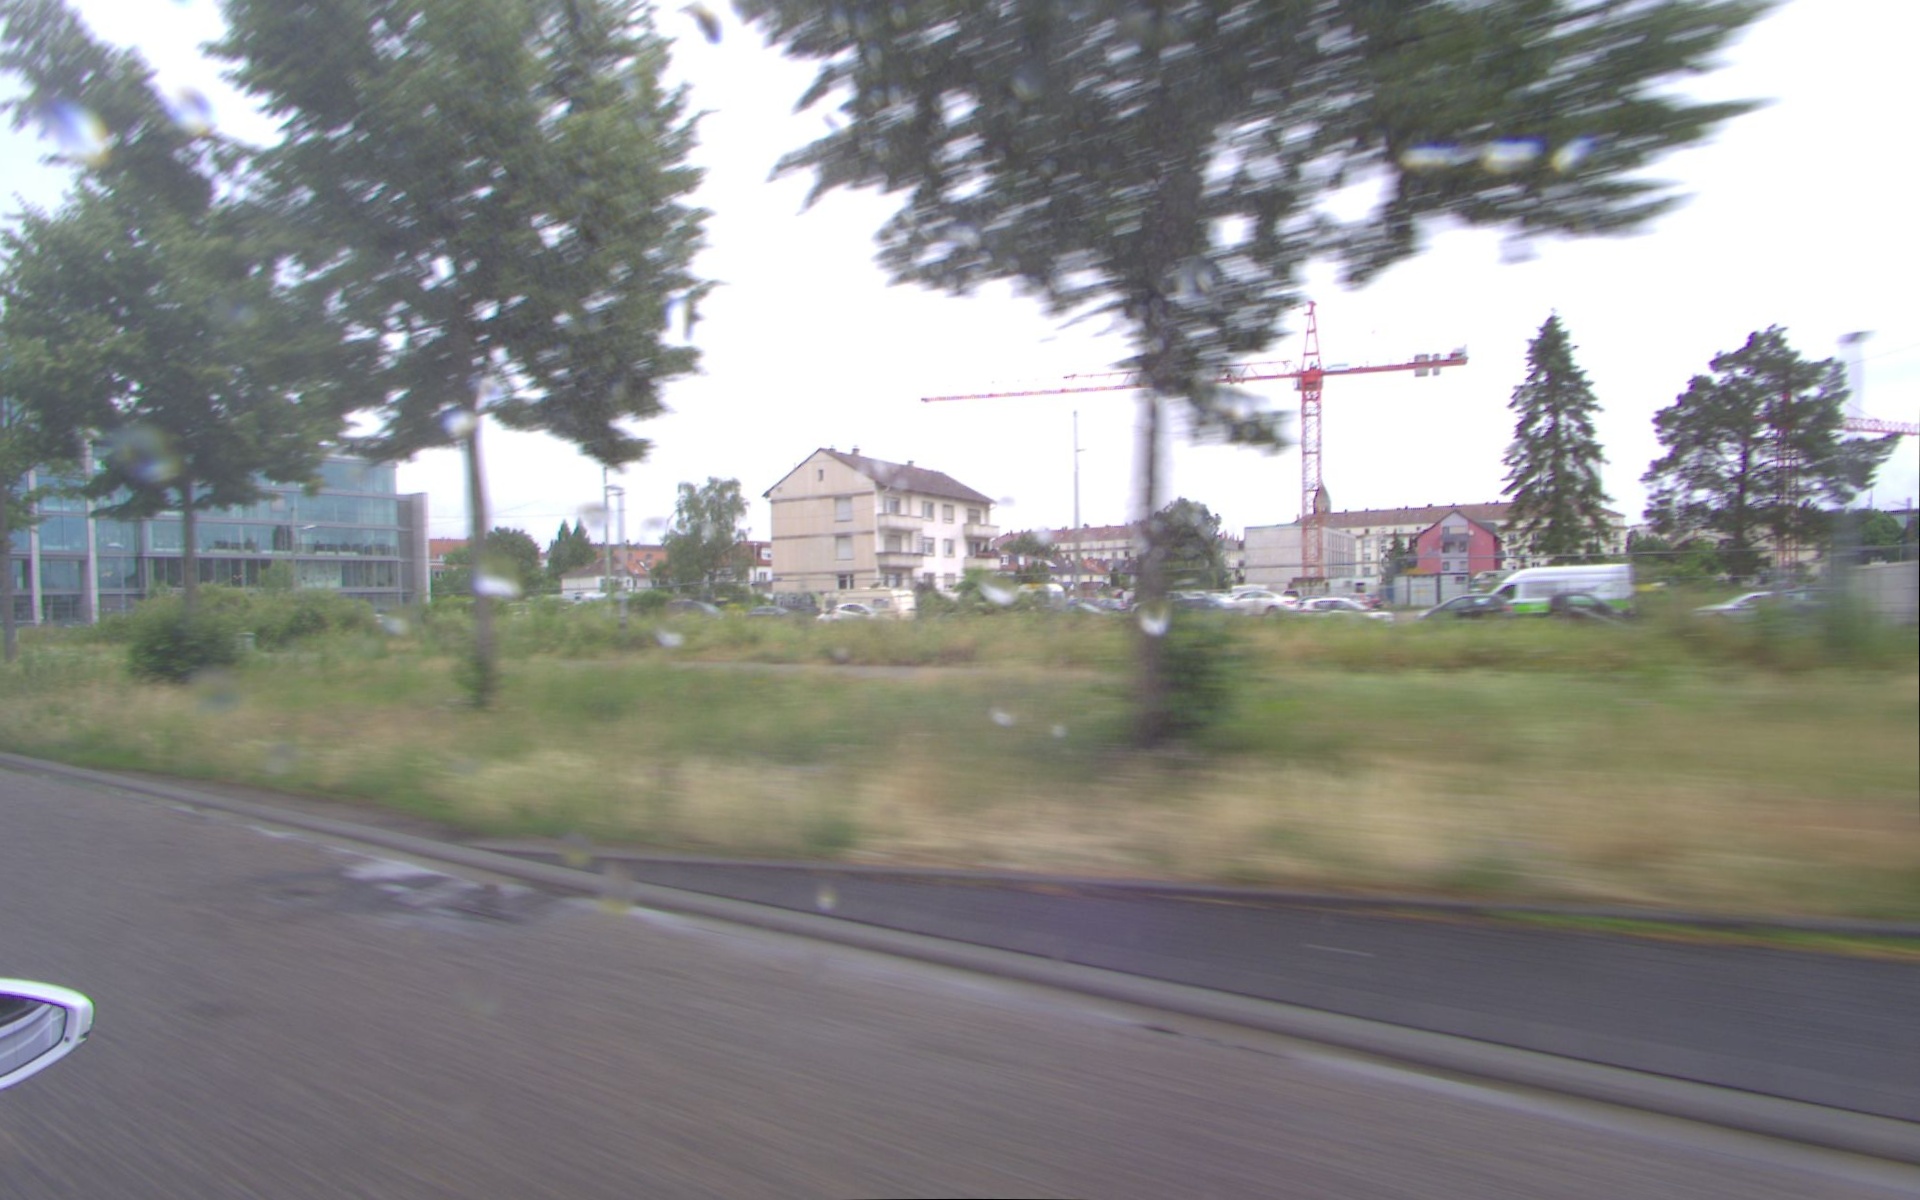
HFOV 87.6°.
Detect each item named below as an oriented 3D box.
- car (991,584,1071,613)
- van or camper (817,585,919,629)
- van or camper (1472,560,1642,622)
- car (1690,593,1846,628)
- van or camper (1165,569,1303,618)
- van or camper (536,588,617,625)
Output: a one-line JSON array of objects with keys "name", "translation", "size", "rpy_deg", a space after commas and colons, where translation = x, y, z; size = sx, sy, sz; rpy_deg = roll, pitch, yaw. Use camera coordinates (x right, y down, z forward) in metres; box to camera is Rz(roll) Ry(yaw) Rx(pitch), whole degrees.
[{"name": "car", "translation": [4.940, -0.094, 70.061], "size": [5.127, 1.919, 2.160], "rpy_deg": [-1, 0, 29]}, {"name": "van or camper", "translation": [-5.856, 0.464, 63.488], "size": [6.301, 2.725, 2.305], "rpy_deg": [-1, 0, 30]}, {"name": "van or camper", "translation": [26.326, -0.324, 44.472], "size": [6.323, 2.569, 2.772], "rpy_deg": [-1, 0, 30]}, {"name": "car", "translation": [32.900, 0.432, 40.956], "size": [4.687, 1.370, 1.840], "rpy_deg": [-1, 0, 29]}, {"name": "van or camper", "translation": [14.238, -0.273, 52.128], "size": [6.549, 2.337, 2.500], "rpy_deg": [-1, -1, 30]}, {"name": "van or camper", "translation": [-32.710, 0.543, 85.427], "size": [6.676, 3.033, 2.902], "rpy_deg": [-1, 0, 30]}]
